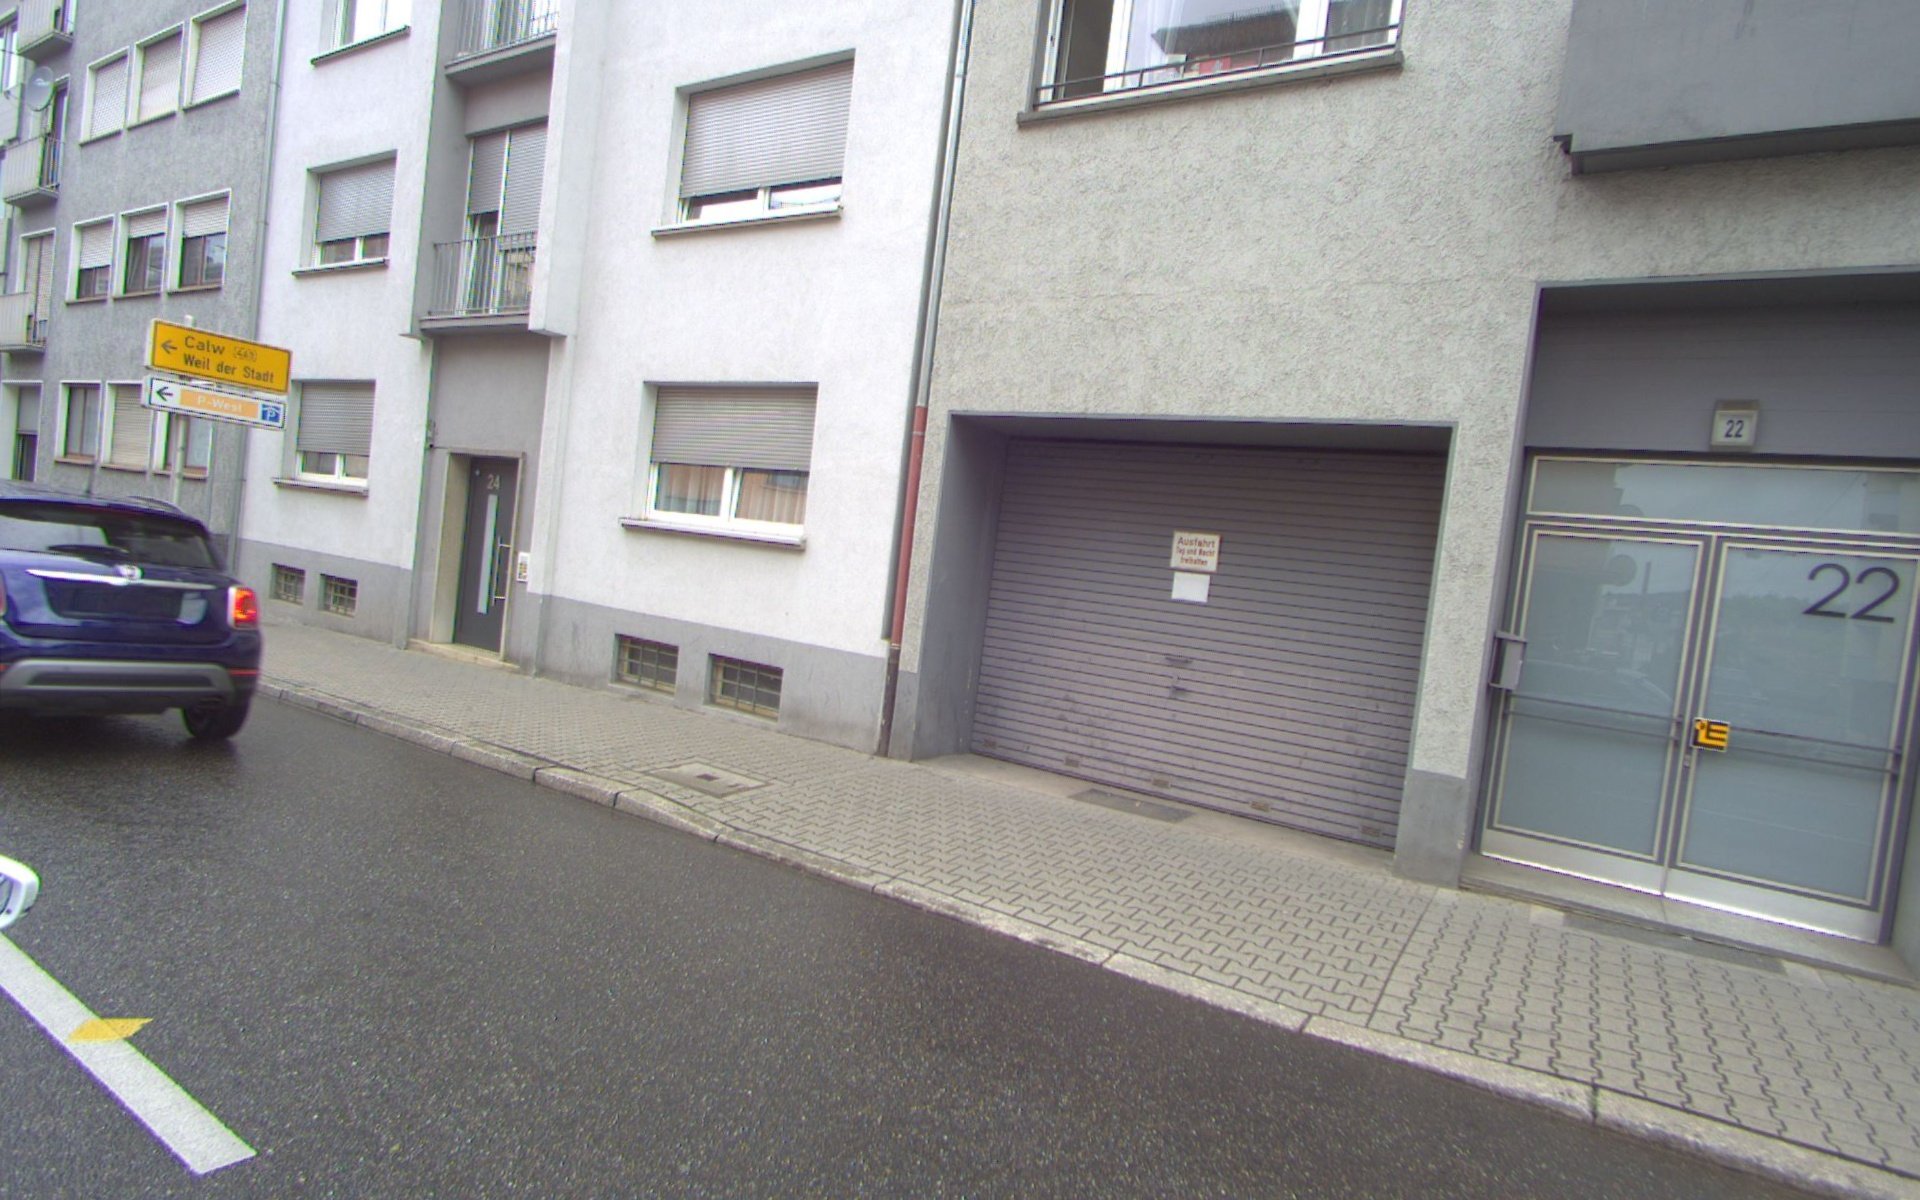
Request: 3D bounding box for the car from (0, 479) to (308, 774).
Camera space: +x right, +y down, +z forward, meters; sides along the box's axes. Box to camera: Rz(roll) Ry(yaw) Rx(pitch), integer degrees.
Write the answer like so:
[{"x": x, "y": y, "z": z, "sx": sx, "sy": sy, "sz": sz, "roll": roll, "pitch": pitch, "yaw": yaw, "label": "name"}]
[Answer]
[{"x": -6.545, "y": 0.005, "z": 6.982, "sx": 3.934, "sy": 1.600, "sz": 1.769, "roll": 7, "pitch": 0, "yaw": 32, "label": "car"}]
